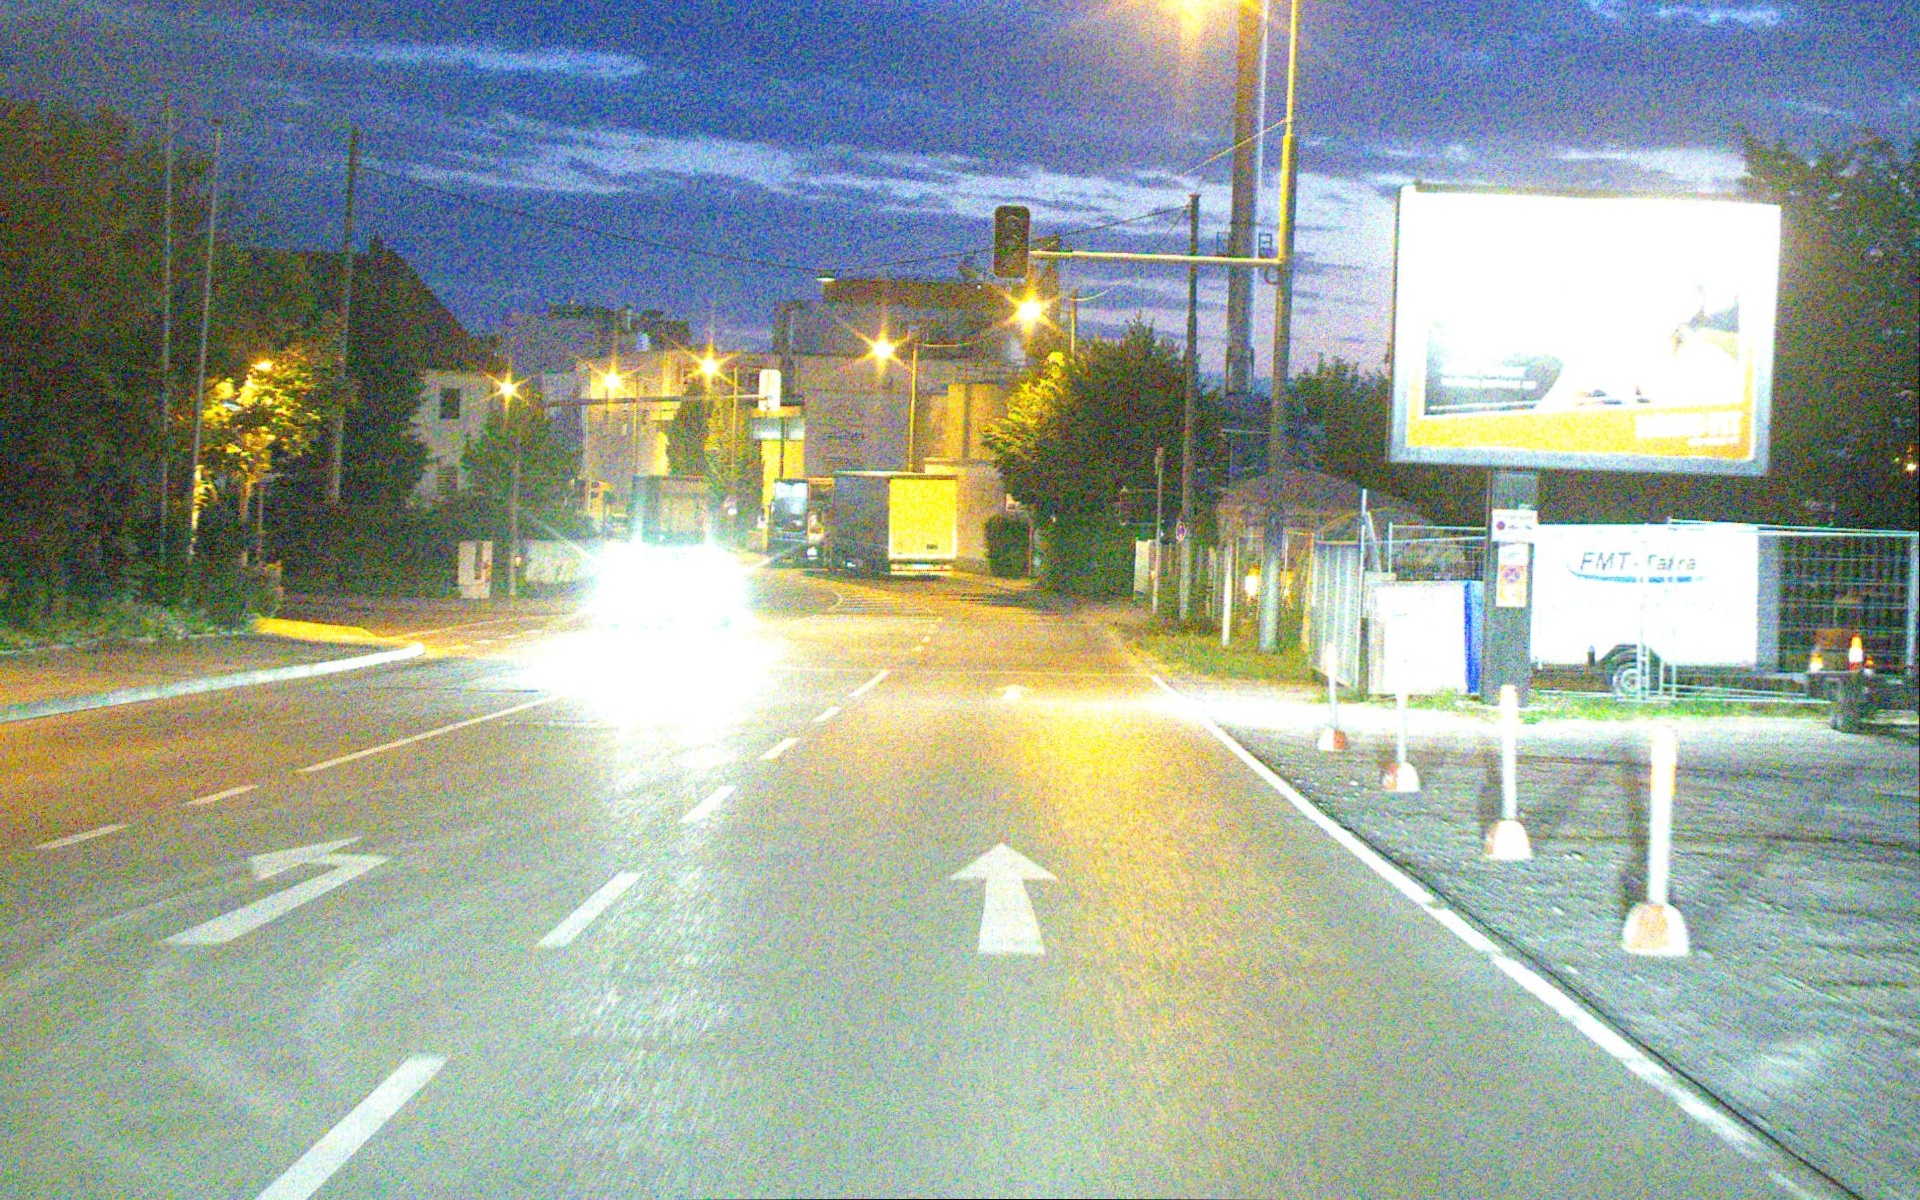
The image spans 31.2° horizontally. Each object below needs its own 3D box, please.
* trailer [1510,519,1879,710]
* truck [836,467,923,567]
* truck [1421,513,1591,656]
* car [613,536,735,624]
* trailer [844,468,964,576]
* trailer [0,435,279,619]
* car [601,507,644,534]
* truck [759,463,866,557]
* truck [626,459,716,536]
[{"bbox_3d":[8.220,0.120,38.487,3.752,2.006,1.612,1,2,25],"label":"trailer"},{"bbox_3d":[-3.331,-3.439,141.190,2.829,3.969,6.052,0,2,-8],"label":"truck"},{"bbox_3d":[10.106,-0.342,64.176,2.183,2.414,7.315,3,1,2],"label":"truck"},{"bbox_3d":[-5.660,-0.427,68.498,1.993,1.621,4.753,2,1,0],"label":"car"},{"bbox_3d":[-2.319,-3.129,134.621,2.808,3.969,13.979,0,2,-9],"label":"trailer"},{"bbox_3d":[-12.759,-1.121,52.418,4.348,2.710,2.000,1,2,0],"label":"trailer"},{"bbox_3d":[-19.537,-4.612,198.697,1.852,1.514,3.819,0,2,-15],"label":"car"},{"bbox_3d":[-6.576,-3.993,151.656,2.829,3.969,10.346,0,2,-13],"label":"truck"},{"bbox_3d":[-15.541,-5.487,184.023,3.519,3.969,10.346,0,2,-12],"label":"truck"}]
